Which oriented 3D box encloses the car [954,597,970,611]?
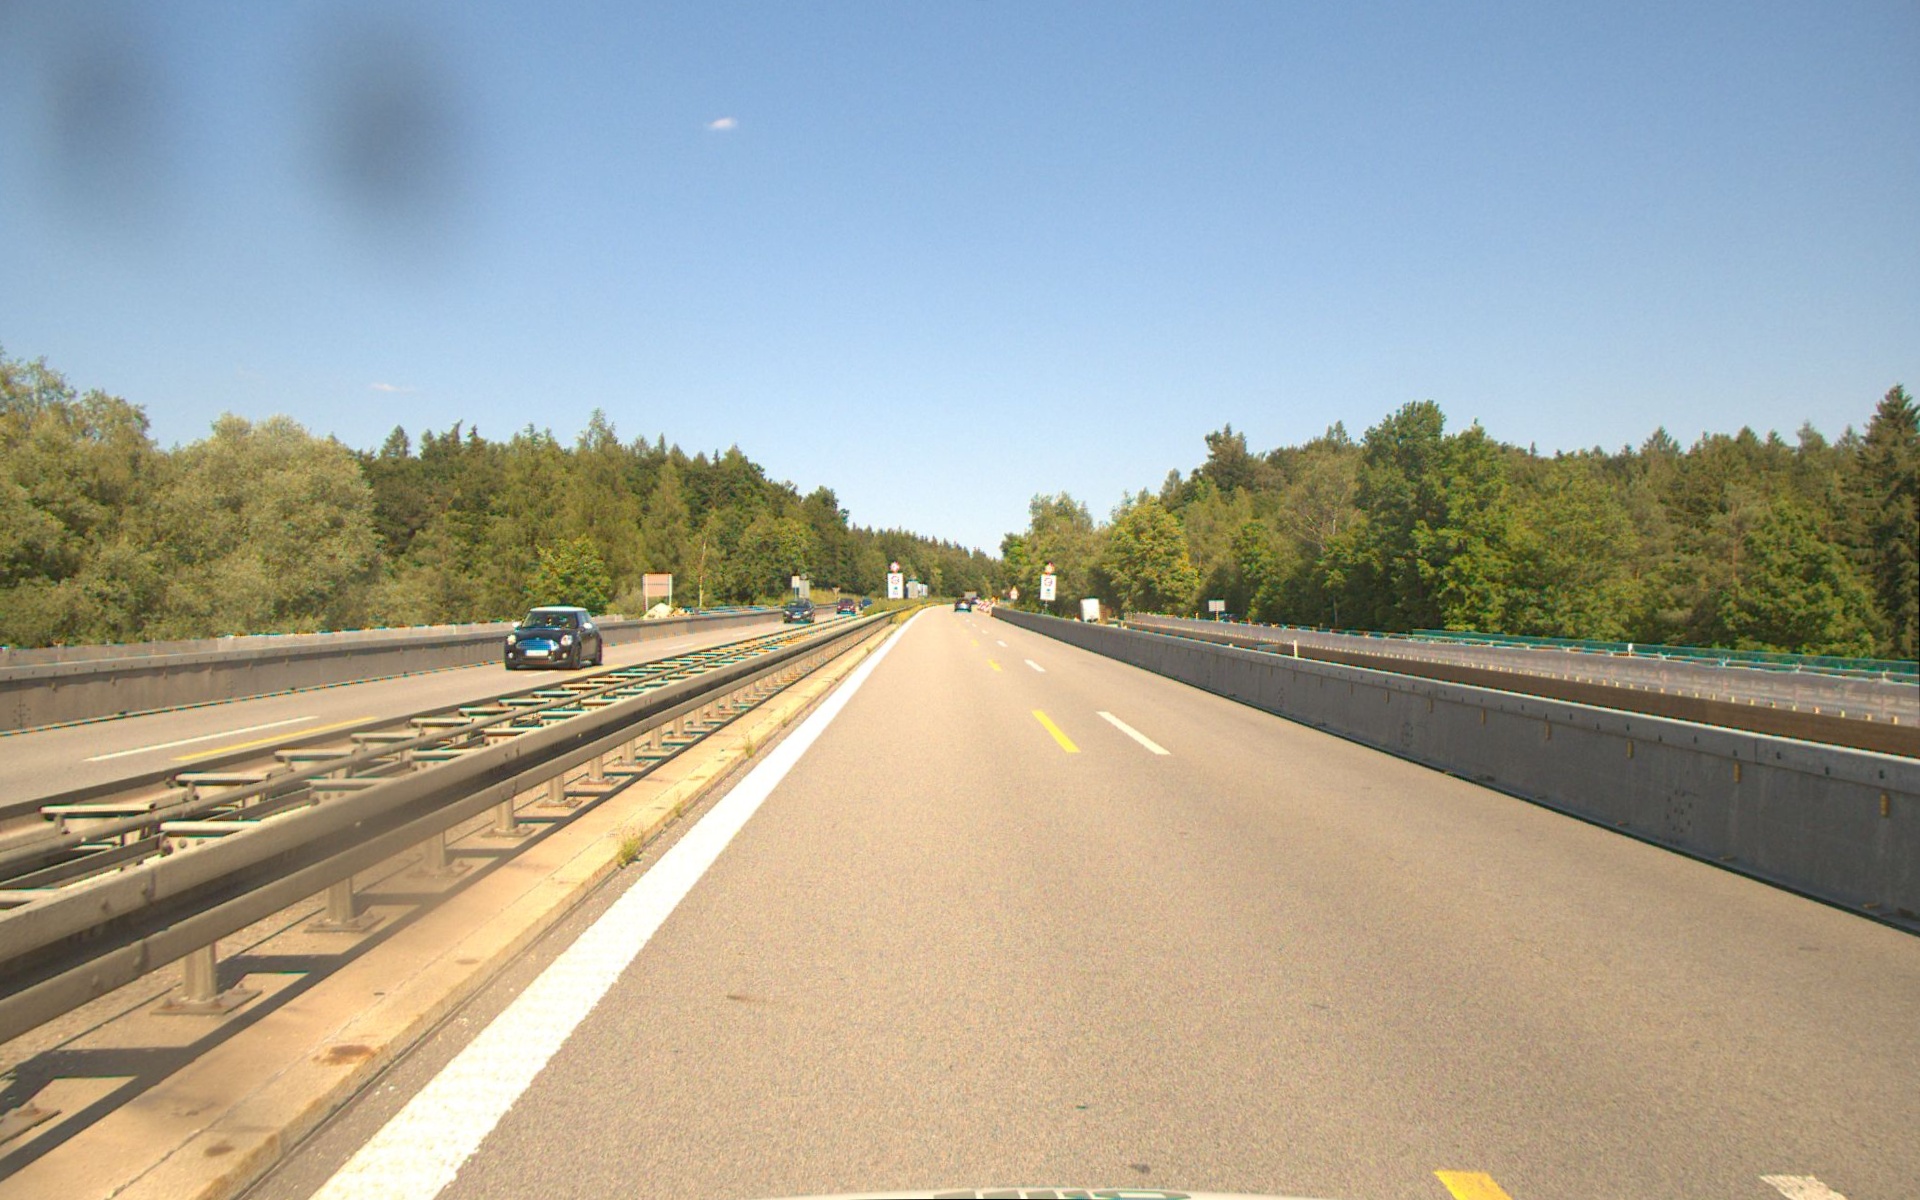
[{"bbox_3d":[0.212,0.438,176.059,1.708,1.492,4.293,0,0,-1],"label":"car"}]

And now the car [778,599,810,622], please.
[{"bbox_3d":[-10.881,0.668,108.539,1.708,1.492,4.908,0,0,-1],"label":"car"}]

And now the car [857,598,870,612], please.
[{"bbox_3d":[-12.167,0.697,209.011,1.496,1.589,3.453,-2,-2,-1],"label":"car"}]

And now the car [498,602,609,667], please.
[{"bbox_3d":[-9.512,0.772,38.975,1.648,1.417,4.191,0,0,-1],"label":"car"}]

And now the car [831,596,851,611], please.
[{"bbox_3d":[-11.882,0.338,165.331,1.708,1.492,4.293,0,0,-1],"label":"car"}]
